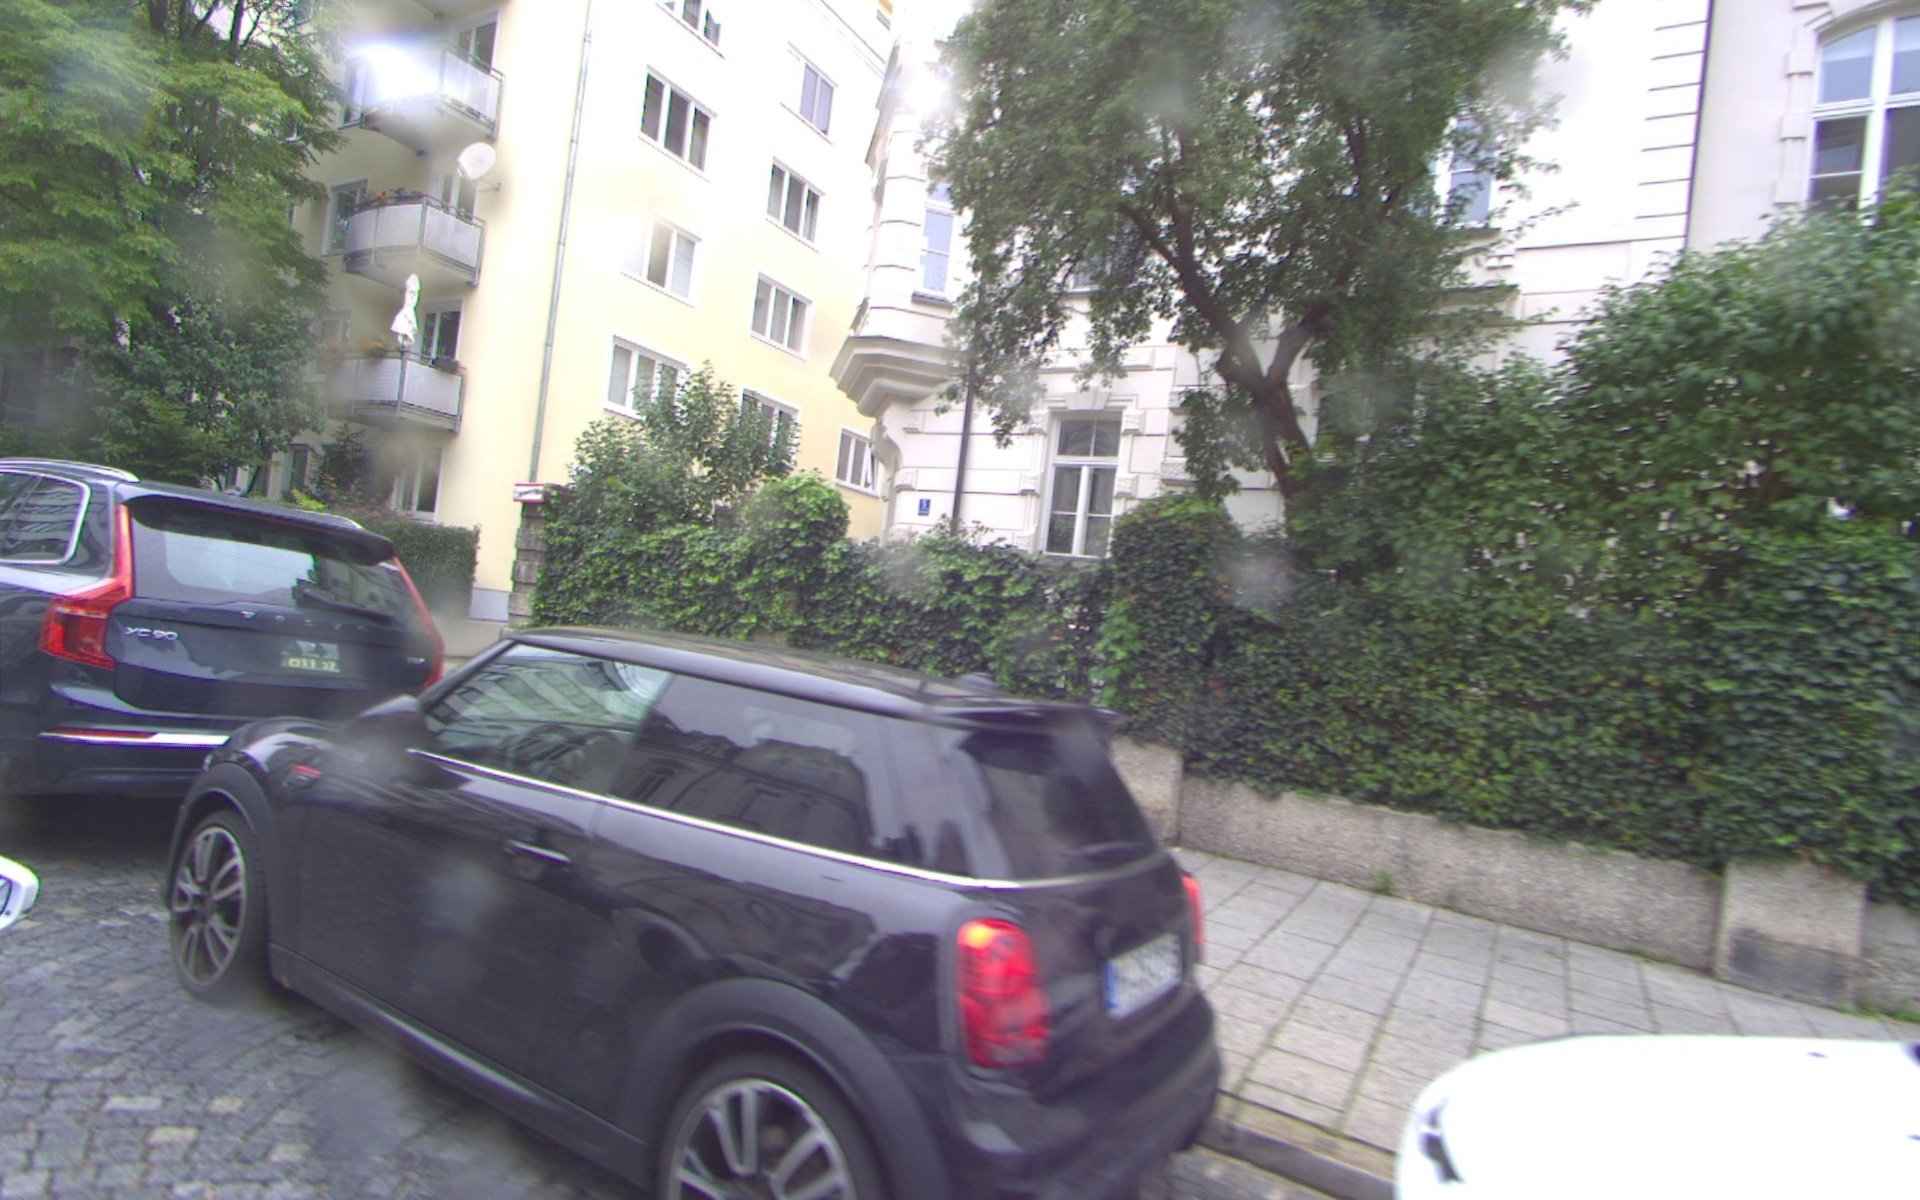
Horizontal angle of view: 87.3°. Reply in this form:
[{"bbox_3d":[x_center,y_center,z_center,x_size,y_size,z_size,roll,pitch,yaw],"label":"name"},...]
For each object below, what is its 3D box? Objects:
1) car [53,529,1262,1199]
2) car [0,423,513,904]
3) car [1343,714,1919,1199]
[{"bbox_3d":[-1.194,0.748,3.509,3.899,1.468,1.688,6,-3,30],"label":"car"},{"bbox_3d":[-5.078,0.107,5.776,4.871,1.779,1.967,6,-2,30],"label":"car"},{"bbox_3d":[2.803,1.179,1.150,4.314,1.446,1.779,6,-2,27],"label":"car"}]
